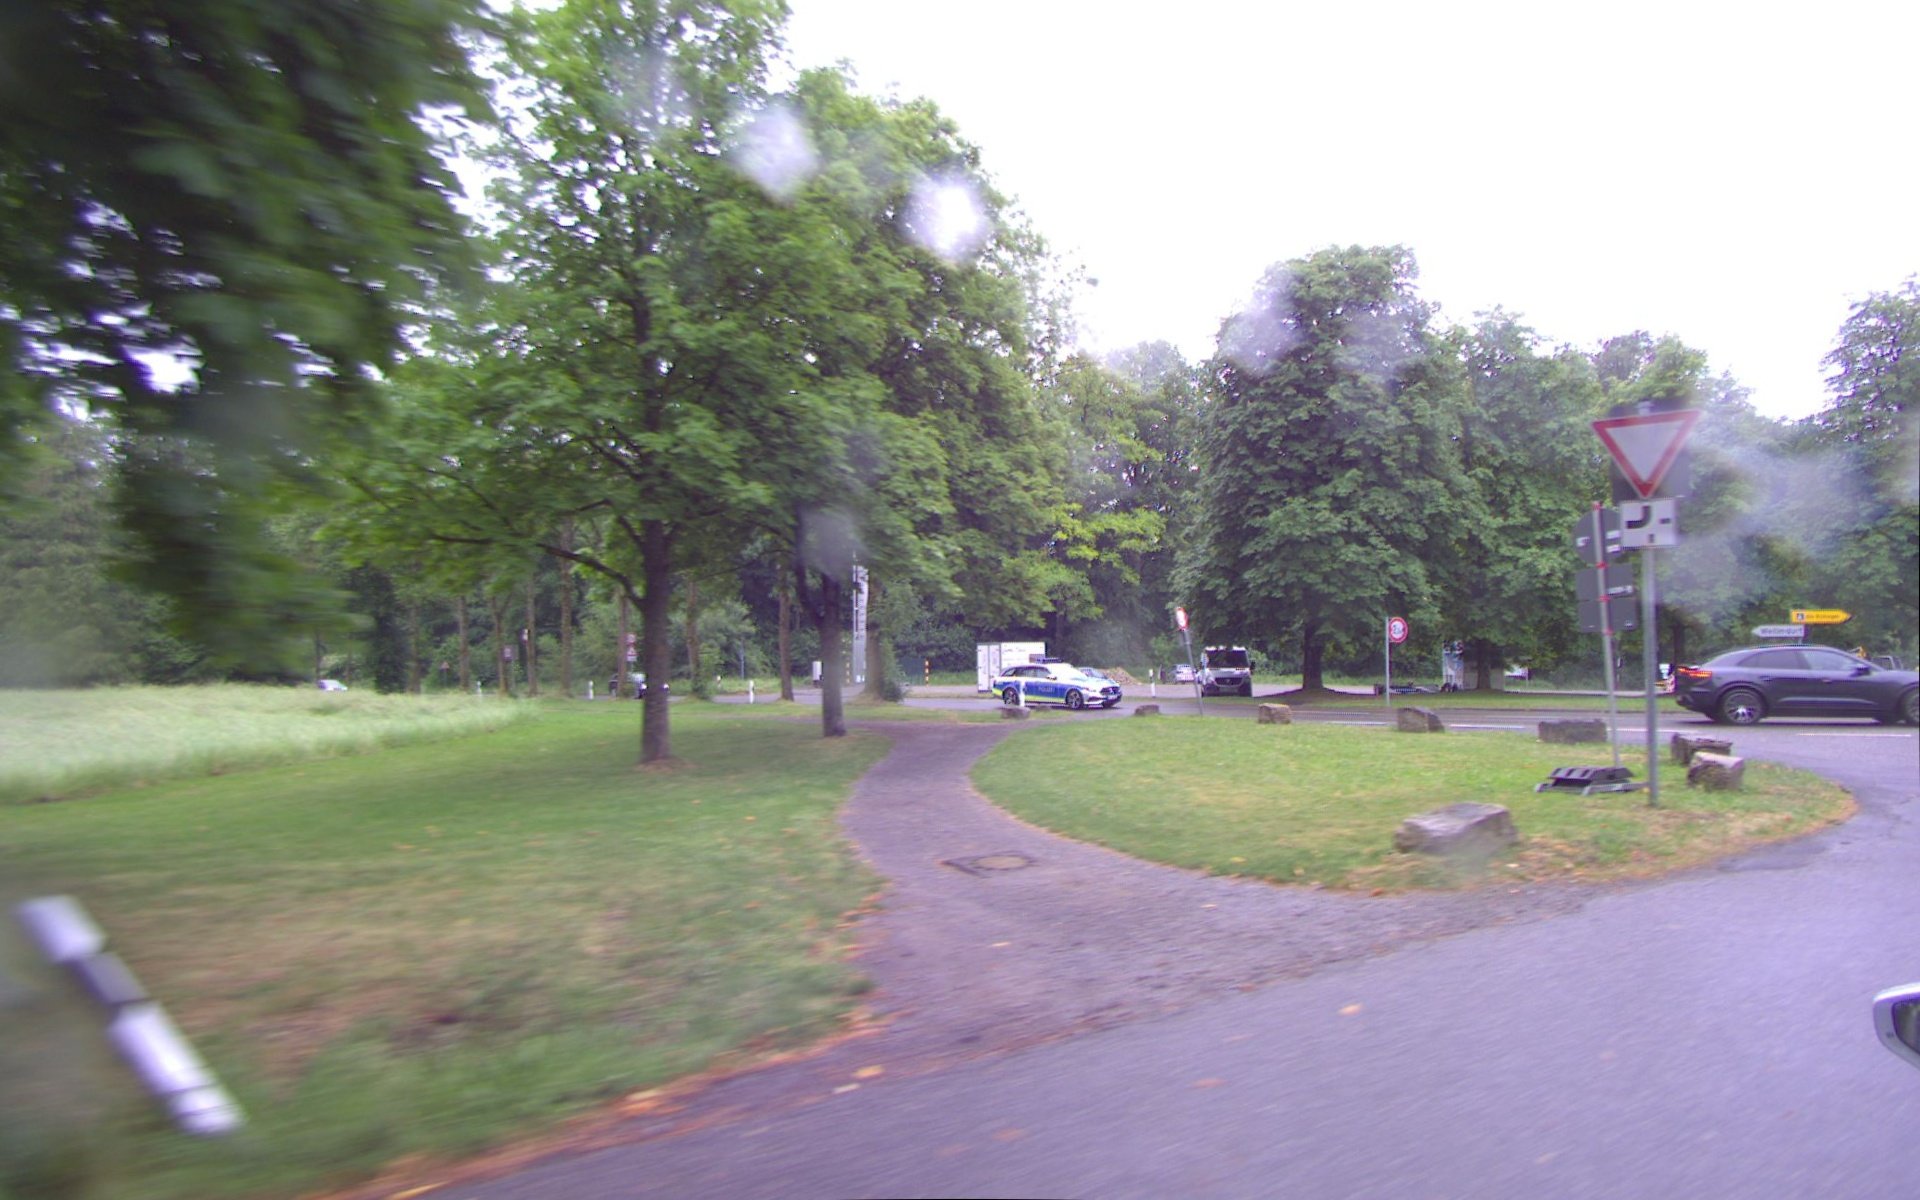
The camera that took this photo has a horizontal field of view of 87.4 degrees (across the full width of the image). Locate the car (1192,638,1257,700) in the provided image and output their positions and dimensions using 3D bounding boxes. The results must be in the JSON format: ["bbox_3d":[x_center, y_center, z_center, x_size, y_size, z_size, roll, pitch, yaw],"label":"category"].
[{"bbox_3d":[11.351,2.985,43.508,2.344,2.438,5.990,1,-4,12],"label":"car"}]

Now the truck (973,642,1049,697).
[{"bbox_3d":[2.429,3.234,47.363,3.328,2.474,1.851,3,-4,-45],"label":"truck"}]

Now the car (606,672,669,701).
[{"bbox_3d":[-17.934,4.765,55.791,1.720,1.502,4.124,2,-4,-44],"label":"car"}]

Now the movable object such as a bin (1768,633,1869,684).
[{"bbox_3d":[58.672,4.013,68.688,3.883,3.336,4.616,3,-4,-41],"label":"movable object such as a bin"}]

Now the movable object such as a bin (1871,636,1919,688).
[{"bbox_3d":[62.494,3.997,65.147,3.638,3.336,4.543,2,-4,-41],"label":"movable object such as a bin"}]

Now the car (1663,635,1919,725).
[{"bbox_3d":[17.466,1.652,20.777,4.491,1.731,1.730,-3,-4,27],"label":"car"}]

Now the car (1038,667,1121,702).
[{"bbox_3d":[5.443,3.777,45.354,1.743,1.448,4.086,-3,-4,41],"label":"car"}]

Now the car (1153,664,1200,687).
[{"bbox_3d":[15.719,5.464,73.011,1.964,1.605,3.994,0,-3,-10],"label":"car"}]

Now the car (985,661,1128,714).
[{"bbox_3d":[3.168,2.884,33.882,1.720,1.621,4.840,2,-4,-44],"label":"car"}]
